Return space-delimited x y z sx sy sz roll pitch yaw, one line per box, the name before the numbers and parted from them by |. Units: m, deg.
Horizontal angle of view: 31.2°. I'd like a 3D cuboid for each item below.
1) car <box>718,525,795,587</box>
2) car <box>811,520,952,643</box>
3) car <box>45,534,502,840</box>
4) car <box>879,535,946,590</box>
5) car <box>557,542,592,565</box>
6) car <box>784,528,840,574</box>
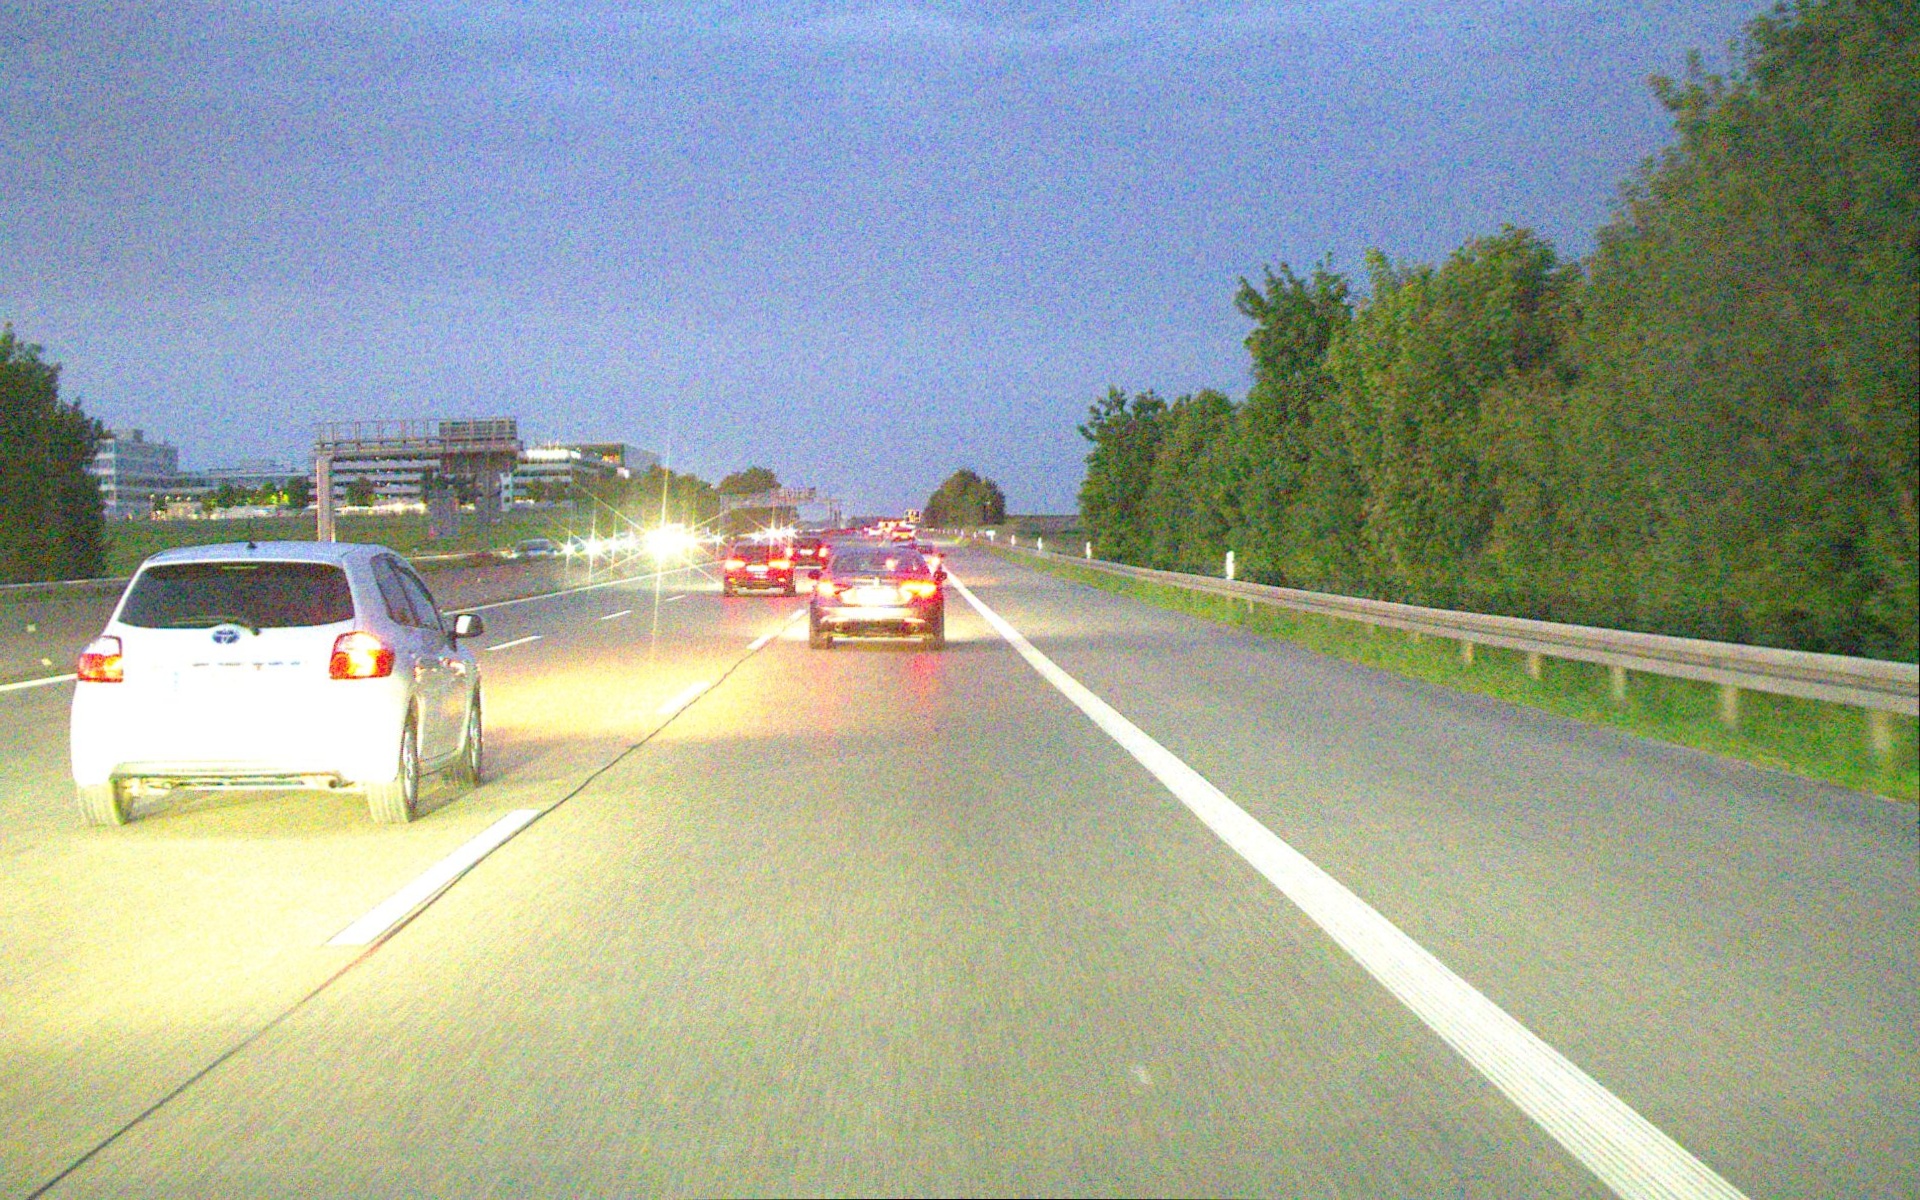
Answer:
car | -5.268 -1.153 89.504 1.880 1.547 4.000 1 1 -2
car | -1.097 -0.272 48.345 1.880 1.637 4.000 1 1 -1
car | -3.760 0.414 19.559 1.744 1.519 4.414 1 1 -1
car | -1.400 -1.102 100.256 1.880 1.547 4.000 1 1 -2
car | -23.431 -2.811 209.218 1.744 1.357 4.112 1 1 -1
car | -6.177 -2.051 143.879 2.199 1.873 4.000 1 1 -1
